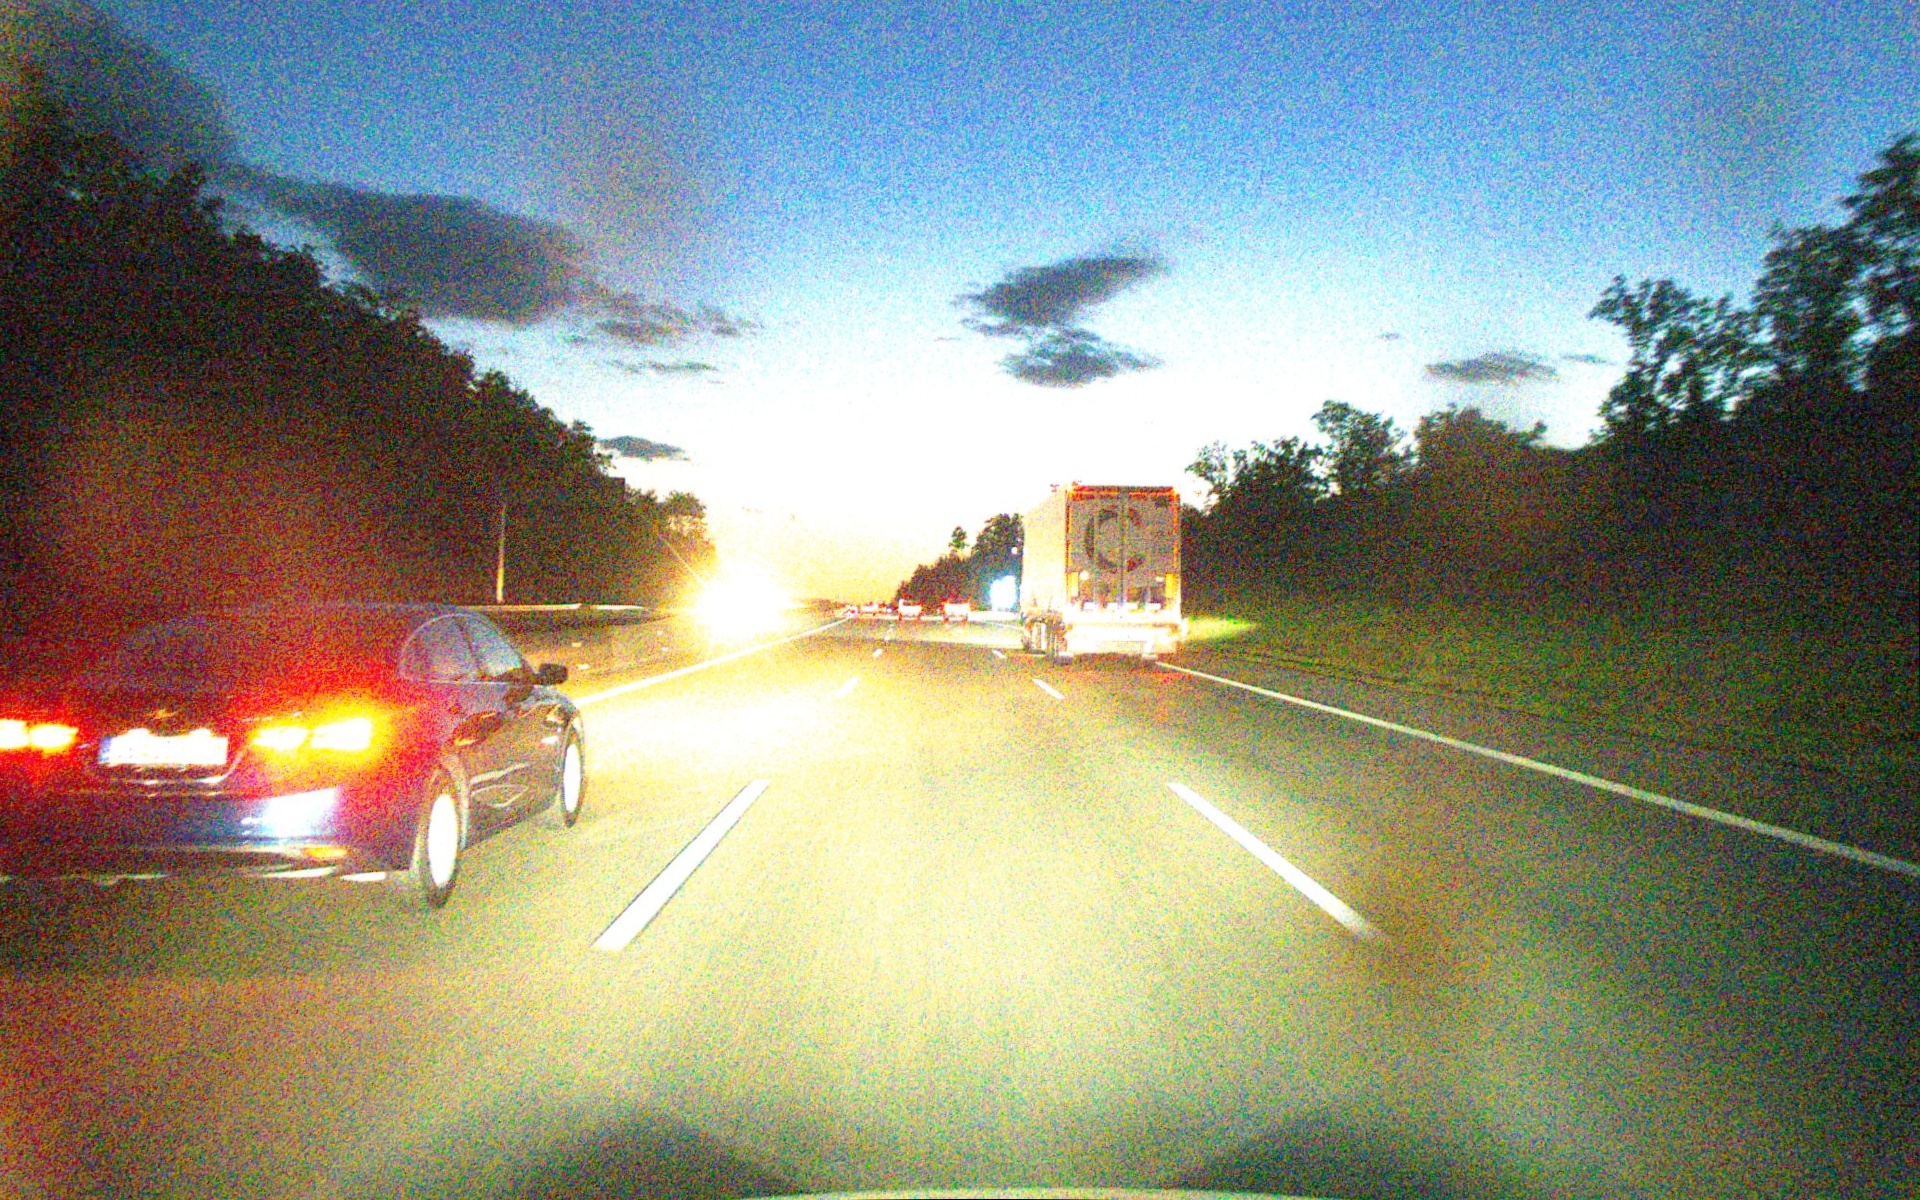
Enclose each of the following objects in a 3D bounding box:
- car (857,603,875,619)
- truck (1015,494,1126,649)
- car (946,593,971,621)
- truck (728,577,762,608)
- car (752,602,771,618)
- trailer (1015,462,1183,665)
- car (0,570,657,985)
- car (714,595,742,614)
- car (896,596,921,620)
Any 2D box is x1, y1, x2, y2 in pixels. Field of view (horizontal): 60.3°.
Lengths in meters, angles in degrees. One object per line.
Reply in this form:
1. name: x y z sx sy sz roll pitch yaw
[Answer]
1. car: -11.370 1.332 199.990 1.953 1.825 3.998 1 -1 -1
2. truck: 3.208 -0.797 49.601 2.772 4.331 6.261 1 0 -1
3. car: -0.144 0.555 133.328 1.953 2.154 3.998 1 -1 -1
4. truck: -28.195 -0.971 217.198 3.245 3.874 10.982 1 0 -1
5. car: -22.779 1.153 189.943 1.710 1.691 3.998 1 -1 -1
6. trailer: 3.281 -0.793 44.206 2.772 4.331 17.045 1 0 -1
7. car: -3.172 0.646 9.287 1.953 1.545 5.650 1 1 -1
8. car: -20.767 0.387 148.041 1.953 1.691 3.999 1 0 -1
9. car: -4.212 0.665 135.268 1.953 1.825 3.998 1 -1 -2
